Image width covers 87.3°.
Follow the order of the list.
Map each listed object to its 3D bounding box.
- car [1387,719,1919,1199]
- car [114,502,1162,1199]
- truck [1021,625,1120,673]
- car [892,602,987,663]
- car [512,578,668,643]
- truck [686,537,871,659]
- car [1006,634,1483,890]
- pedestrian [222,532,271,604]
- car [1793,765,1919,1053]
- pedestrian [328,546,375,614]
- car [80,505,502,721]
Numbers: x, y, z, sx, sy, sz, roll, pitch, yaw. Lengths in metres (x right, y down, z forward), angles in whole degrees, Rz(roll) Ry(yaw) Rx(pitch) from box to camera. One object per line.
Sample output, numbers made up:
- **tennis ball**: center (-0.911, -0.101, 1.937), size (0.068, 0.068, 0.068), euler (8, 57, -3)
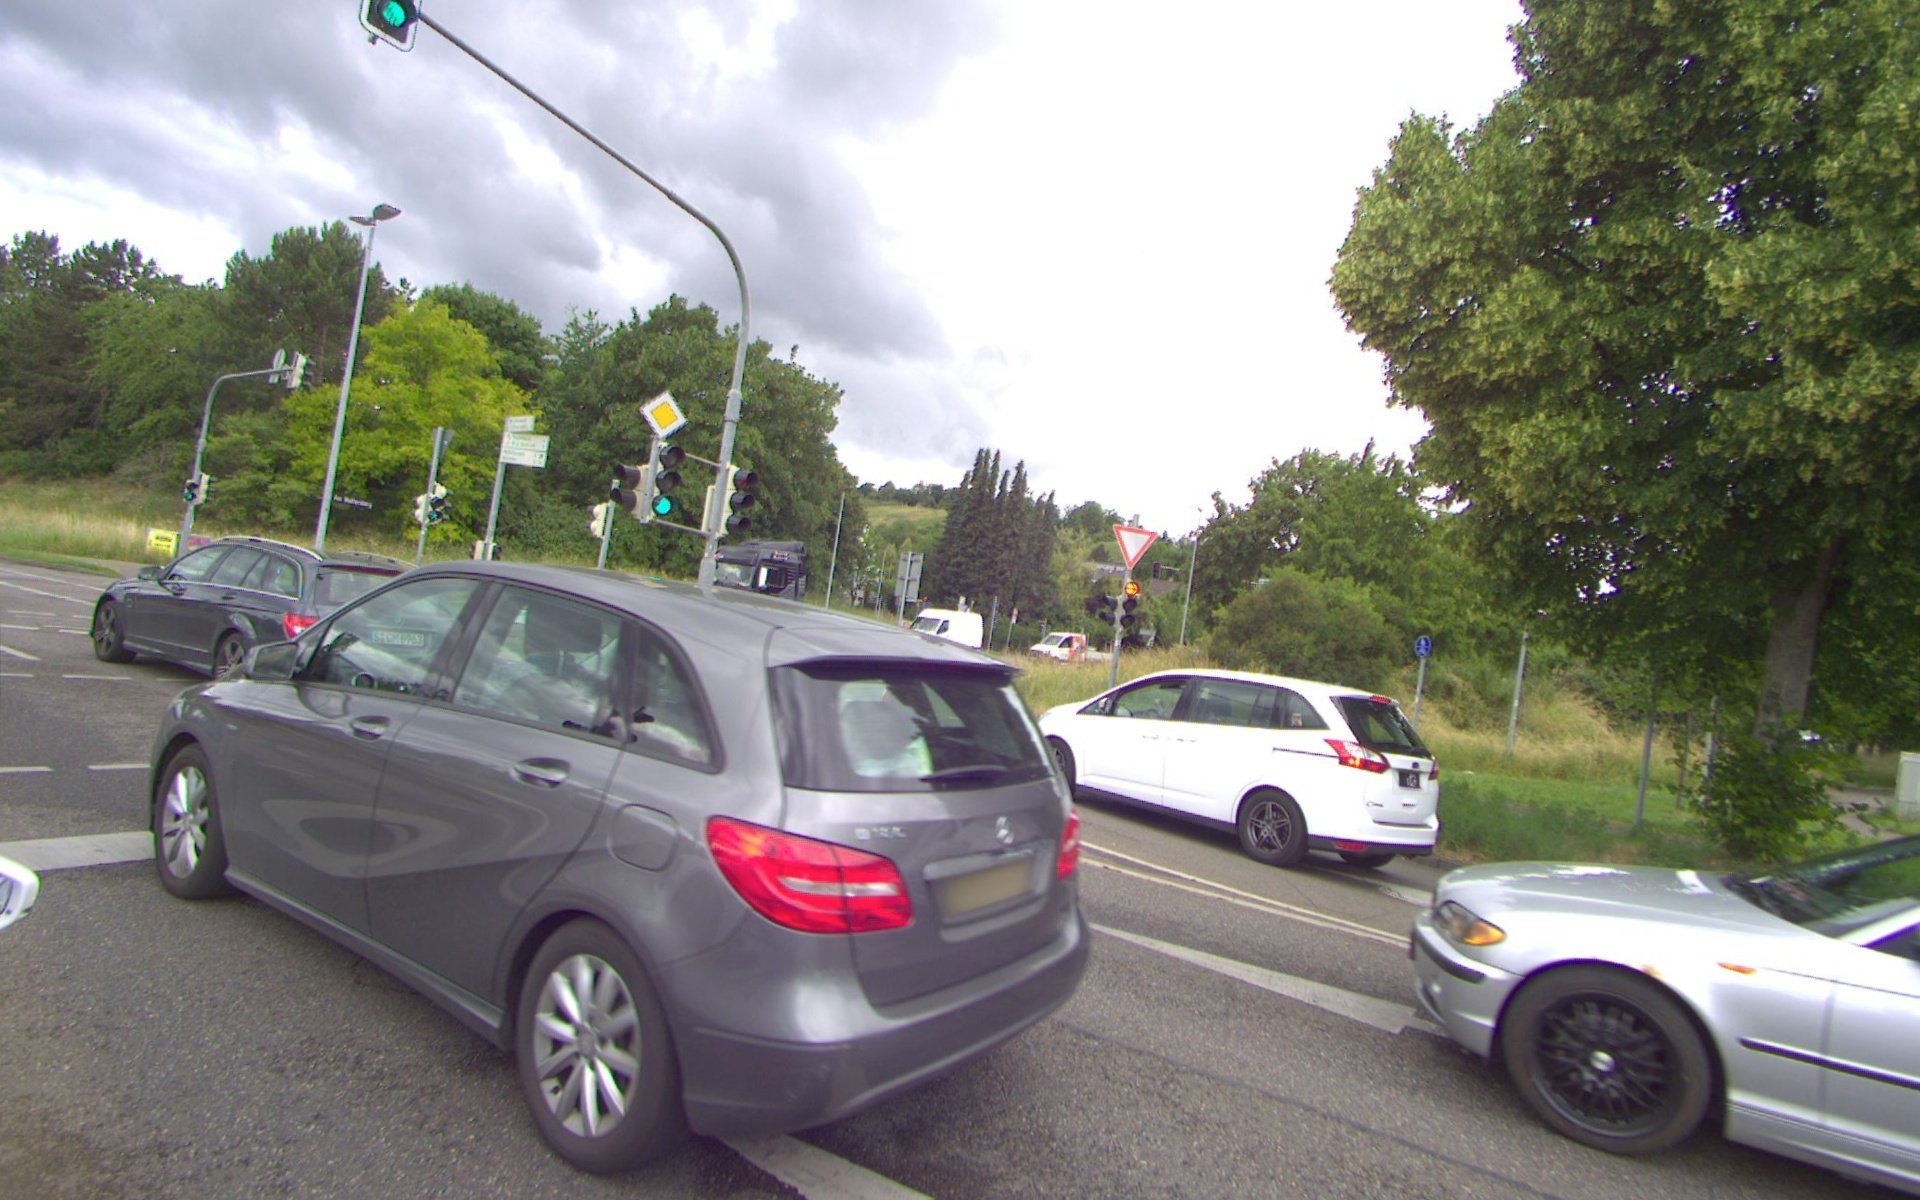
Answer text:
- **car**: center (3.987, 1.467, 3.579), size (4.219, 1.398, 1.750), euler (7, -2, 32)
- **car**: center (-1.472, 0.643, 3.976), size (3.936, 1.525, 1.749), euler (8, -1, 34)
- **truck**: center (7.027, 3.125, 63.720), size (5.979, 2.255, 2.146), euler (9, -2, -30)
- **car**: center (-1.011, 1.821, 54.925), size (1.968, 2.660, 5.814), euler (6, -2, 34)
- **car**: center (-10.559, 0.332, 28.958), size (1.669, 1.353, 3.882), euler (6, -3, 34)
- **truck**: center (-6.223, 0.035, 35.396), size (2.648, 3.527, 6.004), euler (6, -1, 34)
- **car**: center (2.621, 1.471, 10.234), size (1.752, 1.673, 4.325), euler (10, -3, -37)
- **pedestrian**: center (-17.649, -0.795, 24.885), size (0.703, 1.681, 0.644), euler (6, -1, 39)
- **car**: center (7.009, 2.003, 5.564), size (3.511, 1.524, 1.603), euler (6, -2, 38)
- **pedestrian**: center (-15.445, -0.507, 25.525), size (0.703, 1.630, 0.644), euler (6, -1, 37)
- **car**: center (-6.744, 0.088, 10.021), size (4.283, 1.502, 1.750), euler (8, -1, 32)
